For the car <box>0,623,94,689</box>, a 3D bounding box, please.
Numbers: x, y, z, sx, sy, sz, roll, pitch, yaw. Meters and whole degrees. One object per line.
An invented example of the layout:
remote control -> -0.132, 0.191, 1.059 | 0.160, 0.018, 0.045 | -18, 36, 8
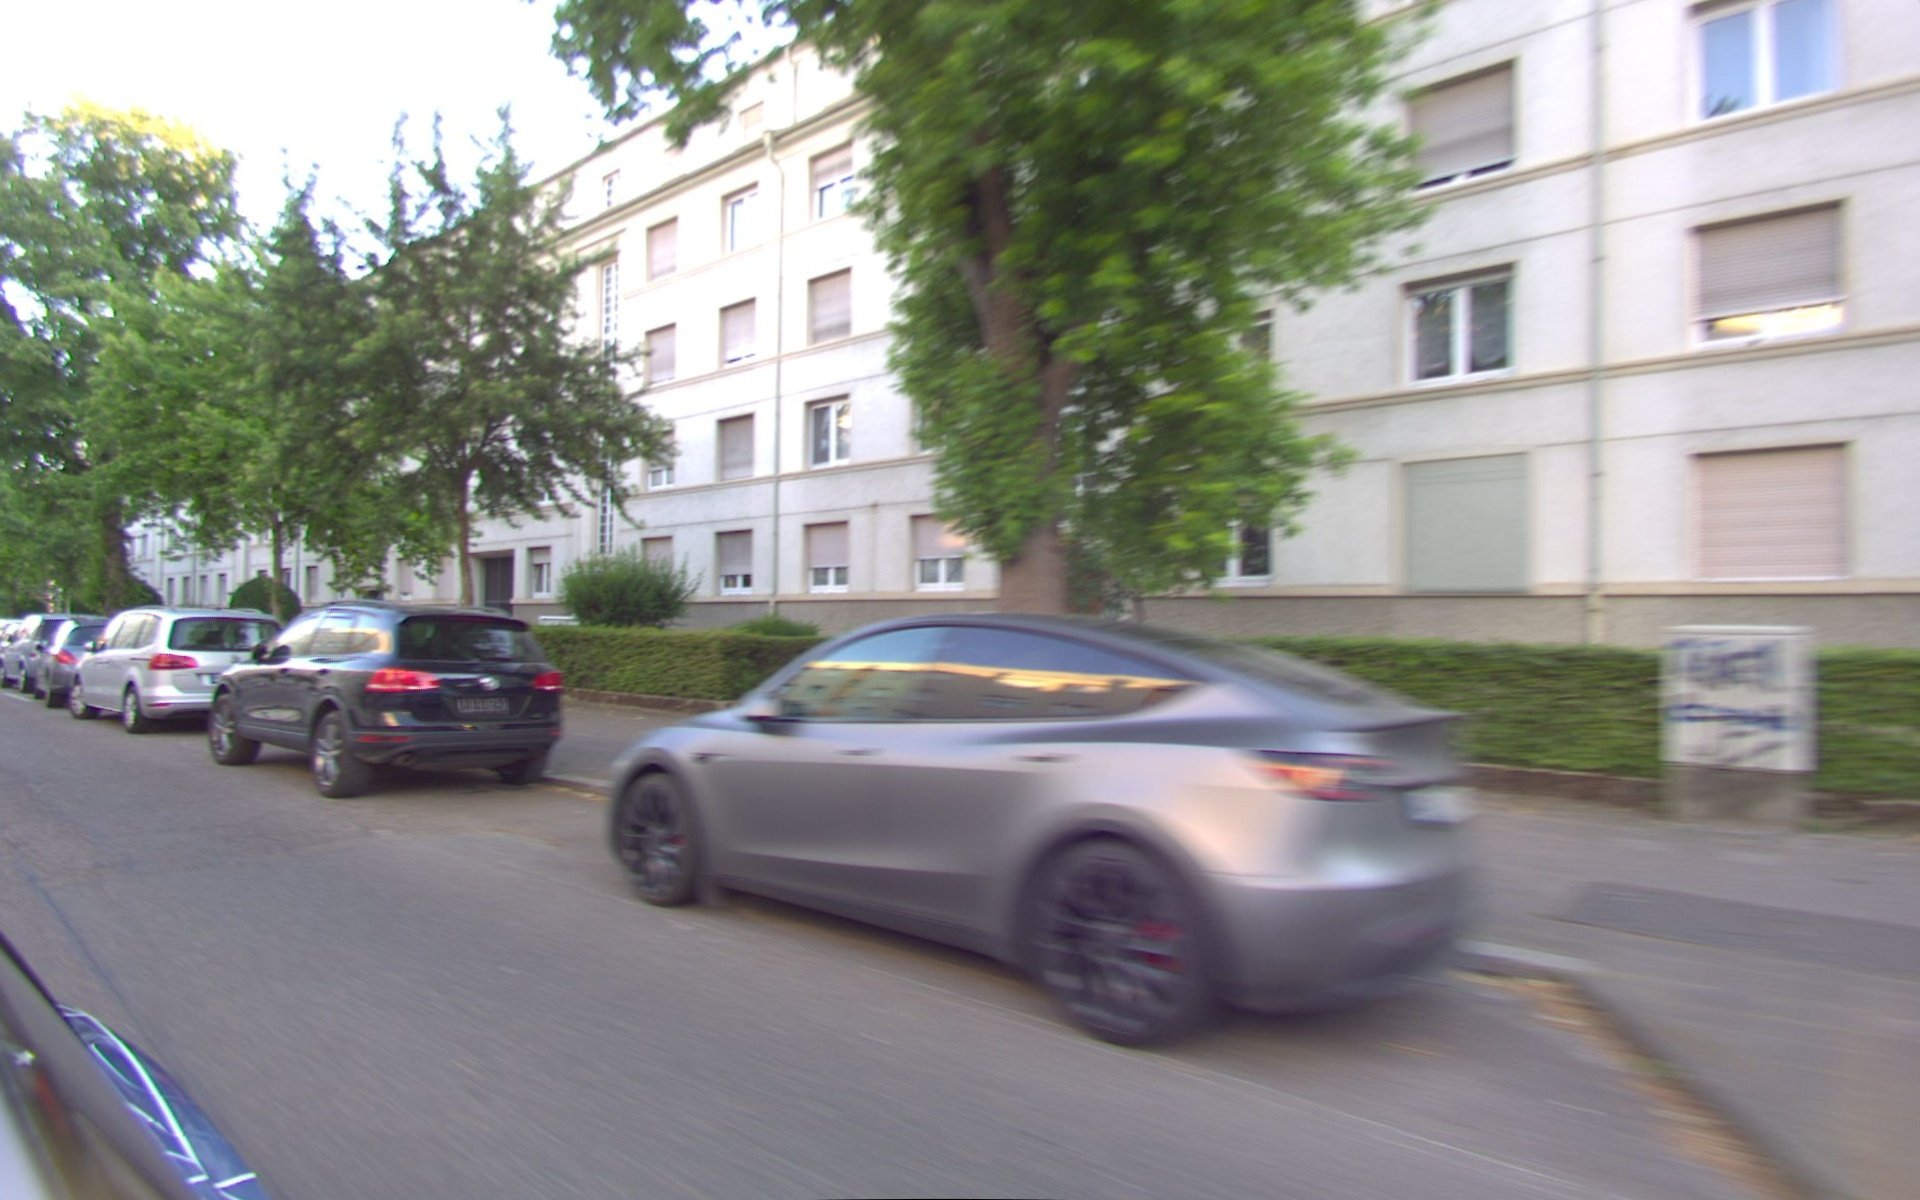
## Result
car -> -22.762, 1.346, 24.788 | 3.840, 1.463, 1.690 | -1, -5, 40

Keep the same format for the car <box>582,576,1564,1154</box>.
car -> 0.241, 0.830, 5.106 | 4.600, 1.629, 1.934 | -1, -4, 39

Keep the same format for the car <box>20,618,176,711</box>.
car -> -15.861, 1.142, 18.554 | 4.271, 1.508, 1.713 | -1, -4, 44

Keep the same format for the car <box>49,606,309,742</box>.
car -> -11.646, 1.010, 14.966 | 4.852, 1.704, 1.829 | -1, -4, 38

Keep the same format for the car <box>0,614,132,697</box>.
car -> -19.490, 1.169, 21.821 | 4.113, 1.613, 1.690 | -1, -5, 40

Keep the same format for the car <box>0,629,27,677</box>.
car -> -30.213, 1.563, 31.144 | 4.177, 1.415, 1.574 | -1, -5, 40

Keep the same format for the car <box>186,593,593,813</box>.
car -> -5.927, 0.894, 10.263 | 4.766, 1.732, 1.934 | -1, -4, 39

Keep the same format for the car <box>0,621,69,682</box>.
car -> -26.041, 1.365, 27.714 | 4.200, 1.550, 1.575 | -1, -5, 38
